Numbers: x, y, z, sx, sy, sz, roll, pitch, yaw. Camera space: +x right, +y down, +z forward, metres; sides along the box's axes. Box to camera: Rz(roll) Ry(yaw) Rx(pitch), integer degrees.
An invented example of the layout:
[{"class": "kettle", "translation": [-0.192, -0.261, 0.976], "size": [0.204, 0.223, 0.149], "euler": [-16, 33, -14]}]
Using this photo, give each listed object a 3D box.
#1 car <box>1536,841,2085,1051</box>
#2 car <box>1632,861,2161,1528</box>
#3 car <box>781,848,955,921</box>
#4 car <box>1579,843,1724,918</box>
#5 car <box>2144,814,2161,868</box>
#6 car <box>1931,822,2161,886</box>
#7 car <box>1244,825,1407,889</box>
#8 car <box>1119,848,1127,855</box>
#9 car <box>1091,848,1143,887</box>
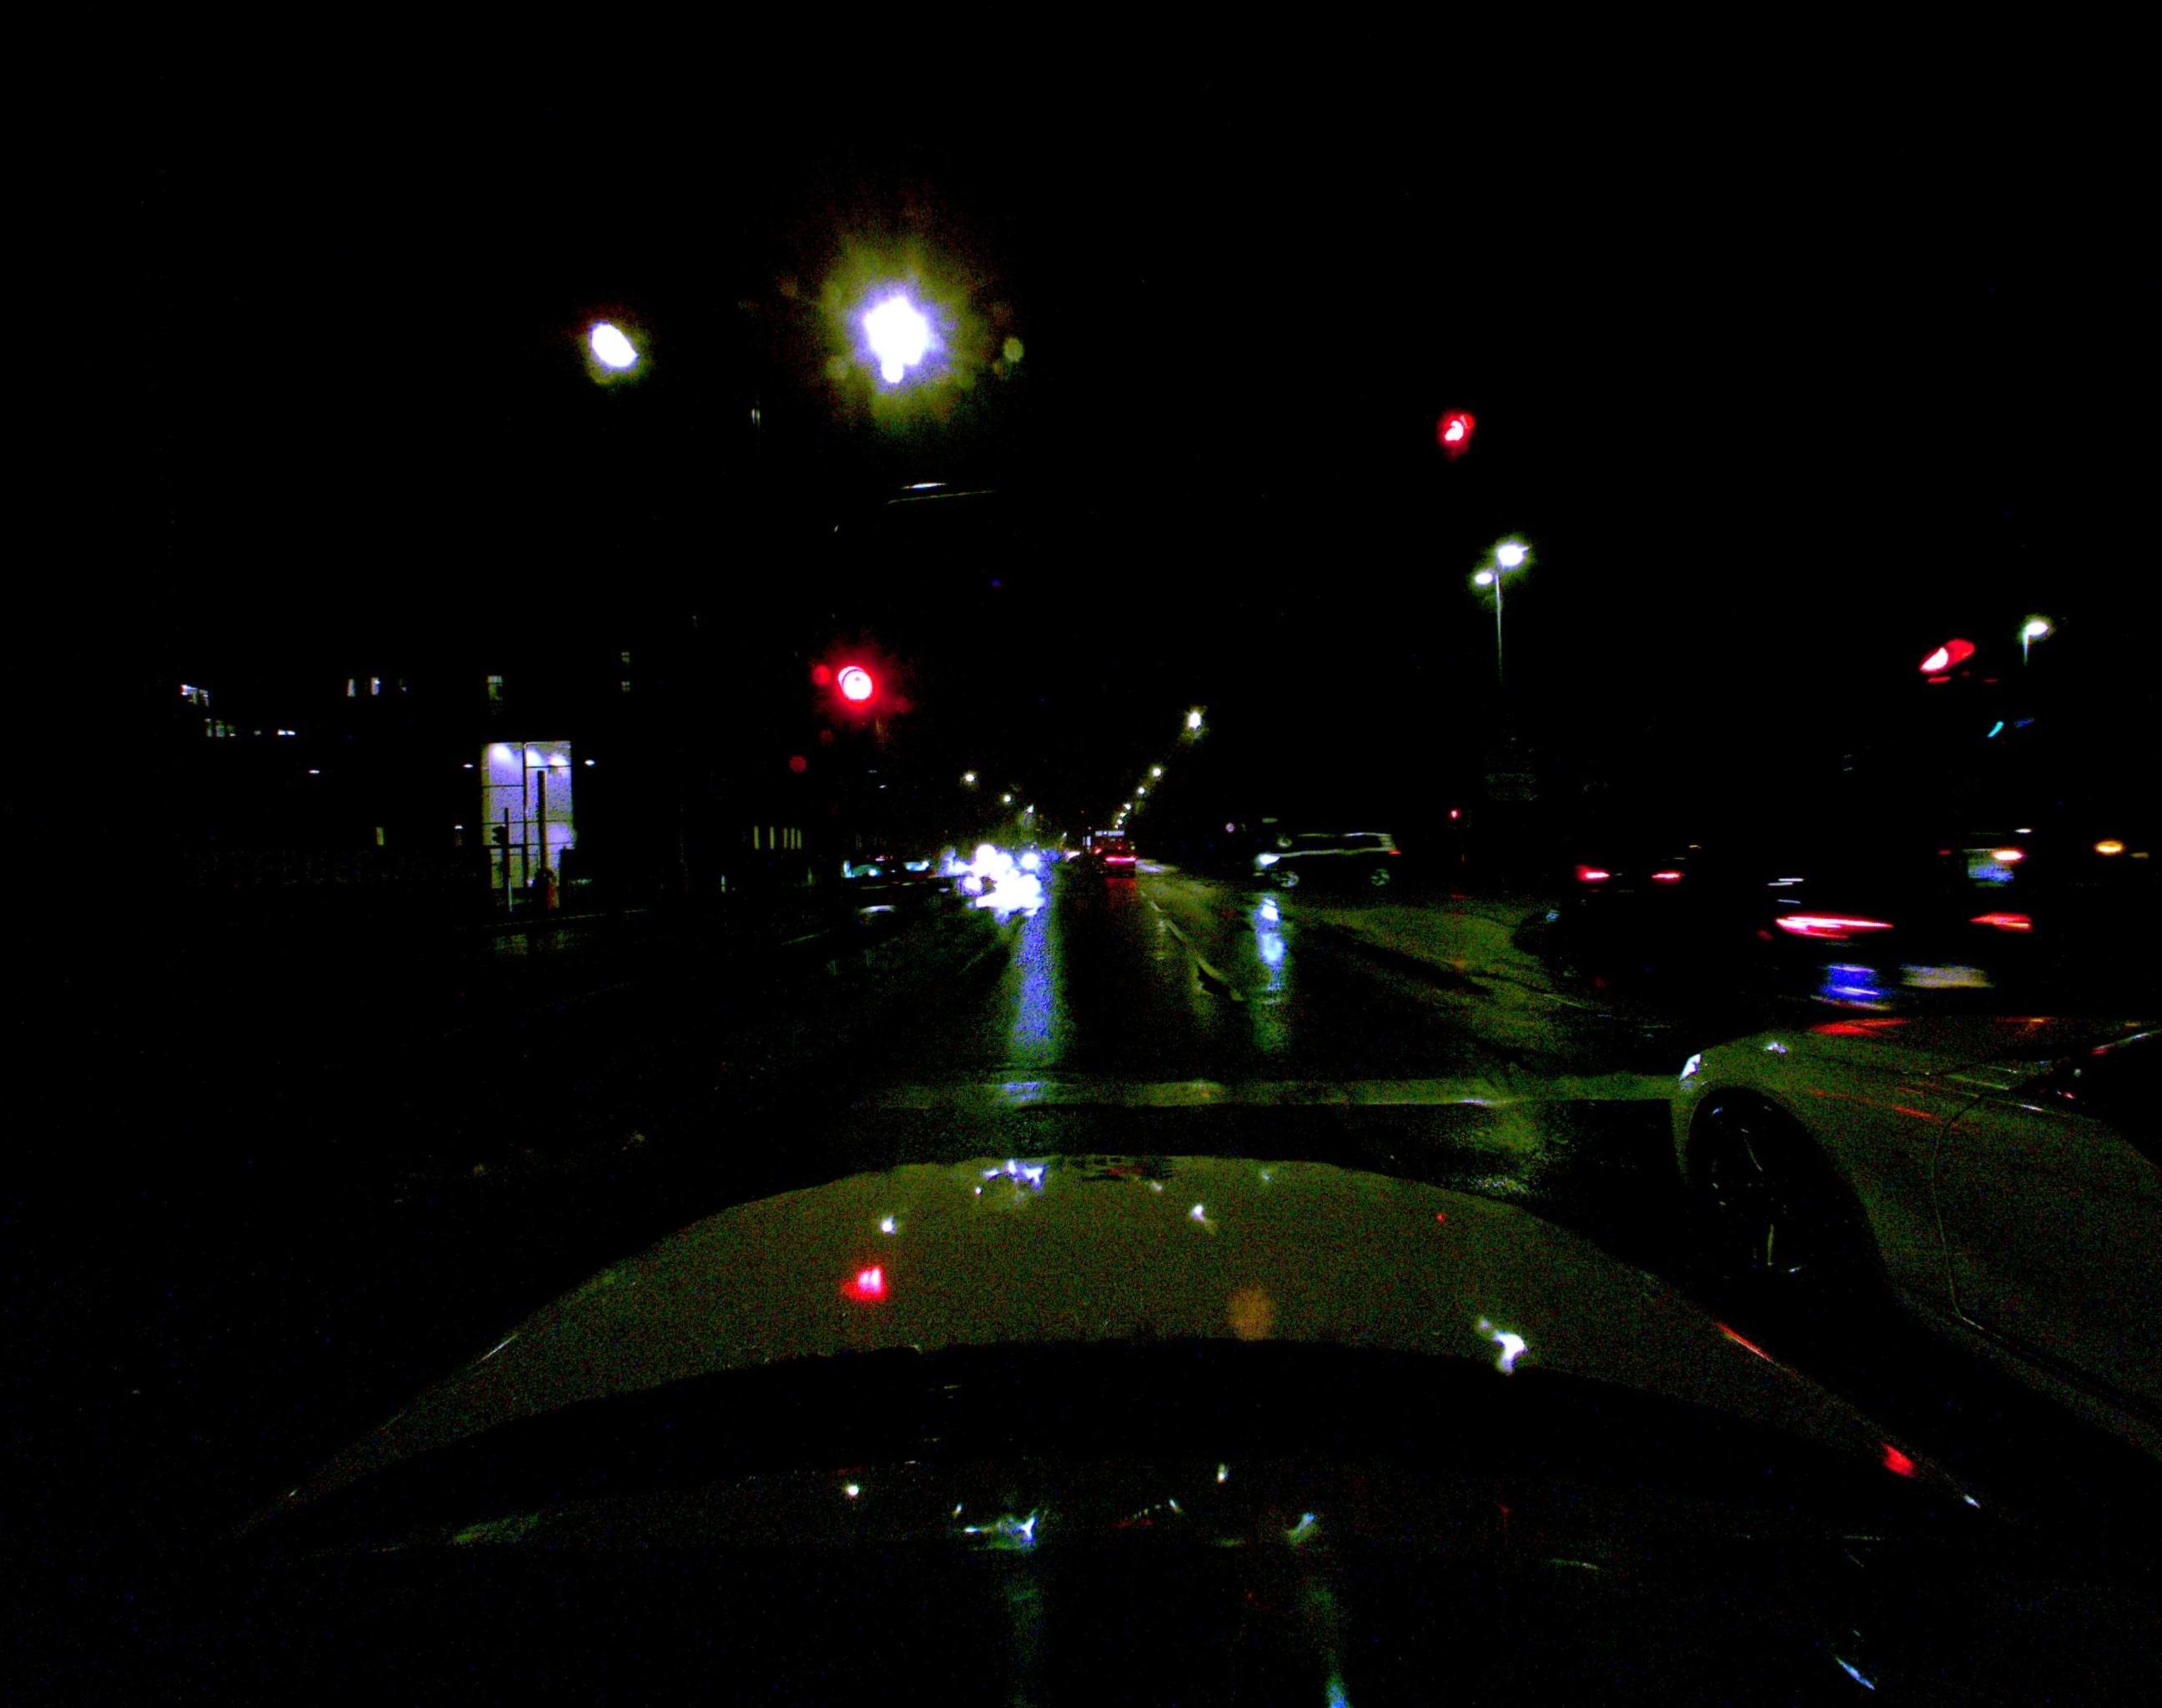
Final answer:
[{"class": "car", "translation": [6.156, 0.639, 7.575], "size": [1.744, 1.431, 3.759], "euler": [-1, 0, 0]}, {"class": "car", "translation": [3.128, 0.719, 1.259], "size": [1.710, 1.404, 4.351], "euler": [0, -1, 2]}, {"class": "car", "translation": [-5.706, 0.783, 22.132], "size": [4.105, 1.588, 1.889], "euler": [-4, 1, -43]}, {"class": "car", "translation": [12.306, 0.469, 17.432], "size": [4.593, 1.390, 1.736], "euler": [-1, 1, -45]}, {"class": "car", "translation": [41.994, -0.554, 29.070], "size": [5.068, 1.984, 2.003], "euler": [-2, 0, 5]}, {"class": "car", "translation": [23.328, 0.003, 19.763], "size": [3.565, 1.459, 1.641], "euler": [0, -1, 4]}, {"class": "car", "translation": [8.490, 0.100, 28.609], "size": [5.080, 1.984, 1.998], "euler": [-2, 0, -3]}, {"class": "car", "translation": [10.794, -0.607, 208.408], "size": [1.986, 1.759, 4.001], "euler": [0, -1, 2]}, {"class": "car", "translation": [1.992, 0.748, 46.858], "size": [2.133, 2.145, 4.914], "euler": [0, -1, -8]}]
